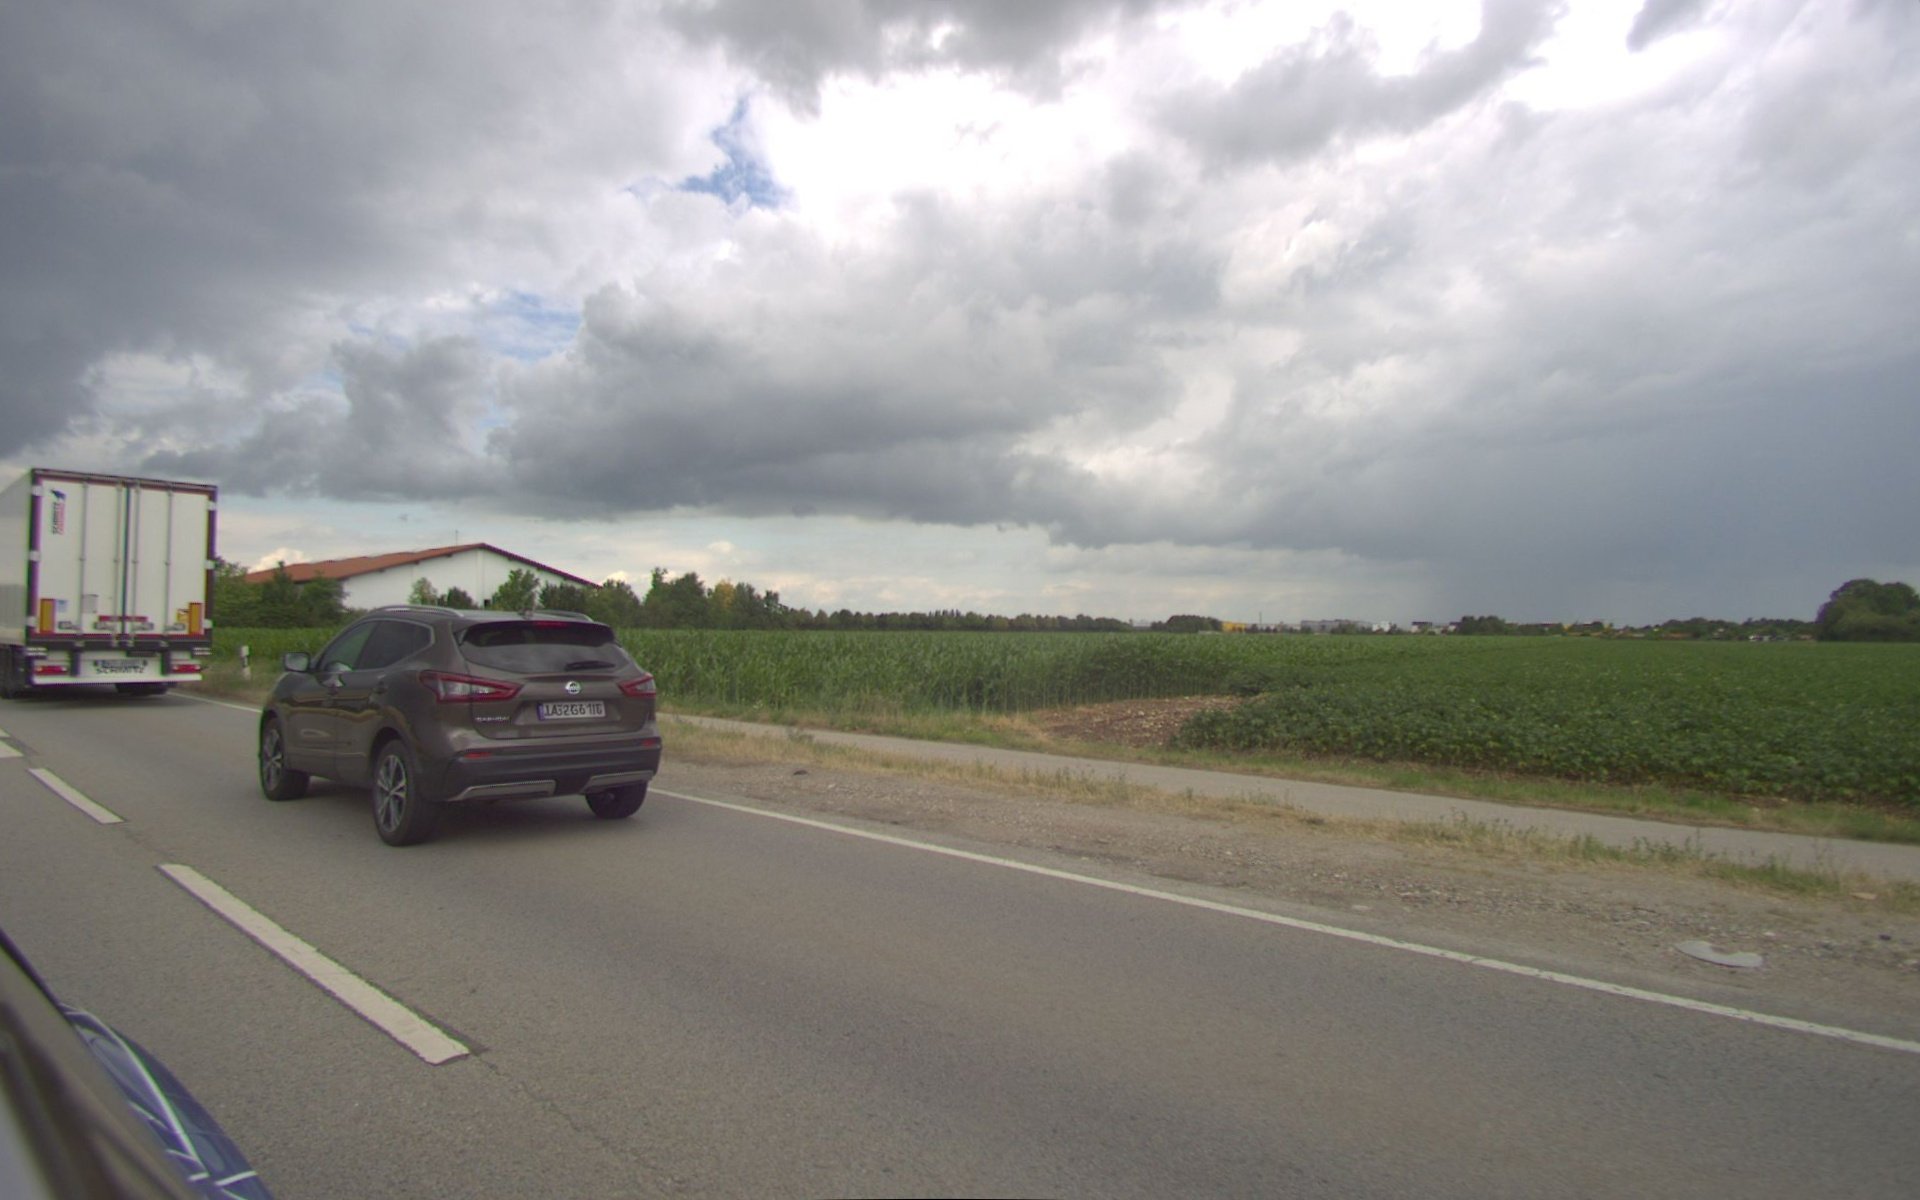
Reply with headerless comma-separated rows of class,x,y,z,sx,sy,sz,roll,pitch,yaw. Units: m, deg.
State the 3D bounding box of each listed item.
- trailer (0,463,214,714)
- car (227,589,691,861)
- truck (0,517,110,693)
trailer,-19.822,-0.062,22.234,13.761,4.152,2.606,-1,-3,42
car,-4.192,0.805,8.095,4.502,1.598,1.711,-1,-3,41
truck,-24.438,0.175,26.304,6.020,4.152,2.623,-1,-3,41
